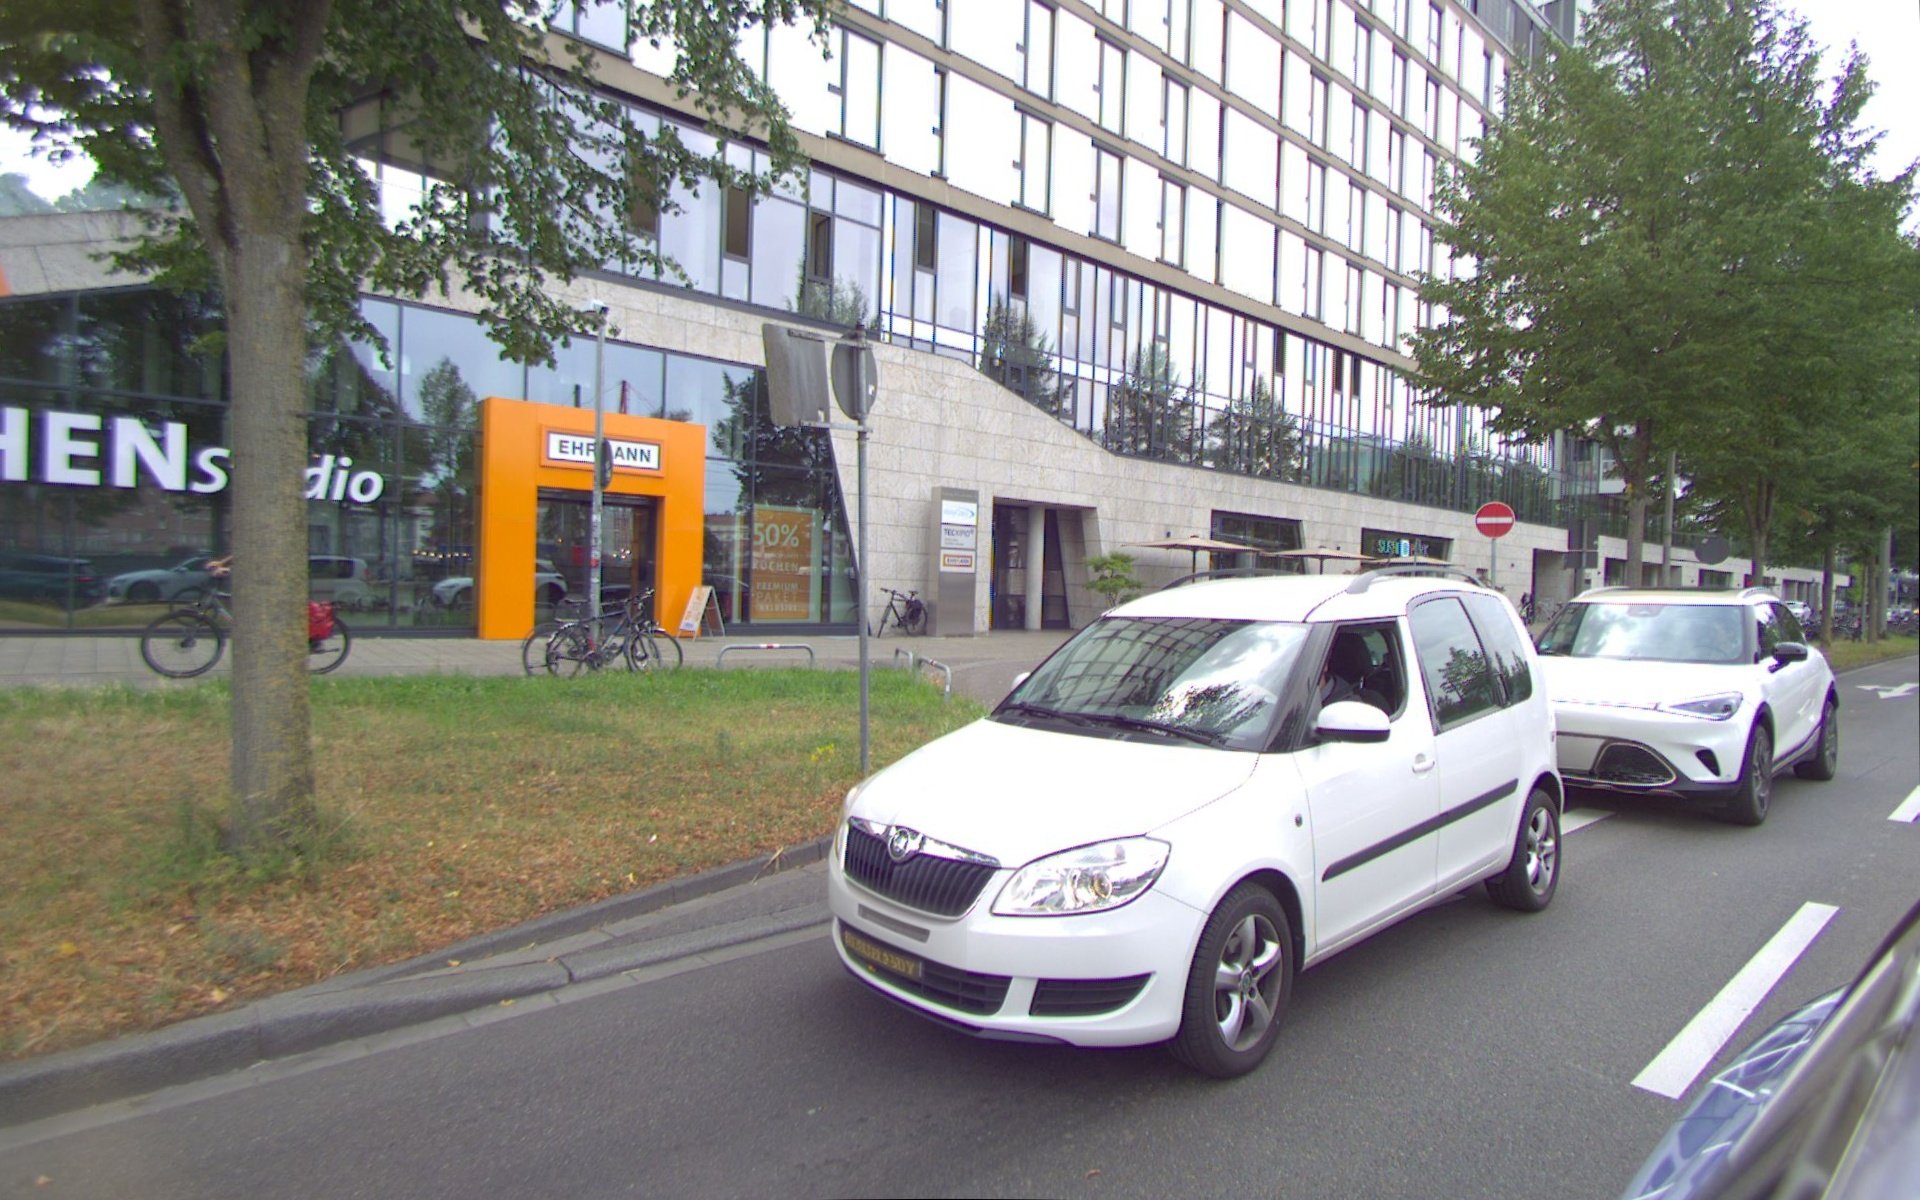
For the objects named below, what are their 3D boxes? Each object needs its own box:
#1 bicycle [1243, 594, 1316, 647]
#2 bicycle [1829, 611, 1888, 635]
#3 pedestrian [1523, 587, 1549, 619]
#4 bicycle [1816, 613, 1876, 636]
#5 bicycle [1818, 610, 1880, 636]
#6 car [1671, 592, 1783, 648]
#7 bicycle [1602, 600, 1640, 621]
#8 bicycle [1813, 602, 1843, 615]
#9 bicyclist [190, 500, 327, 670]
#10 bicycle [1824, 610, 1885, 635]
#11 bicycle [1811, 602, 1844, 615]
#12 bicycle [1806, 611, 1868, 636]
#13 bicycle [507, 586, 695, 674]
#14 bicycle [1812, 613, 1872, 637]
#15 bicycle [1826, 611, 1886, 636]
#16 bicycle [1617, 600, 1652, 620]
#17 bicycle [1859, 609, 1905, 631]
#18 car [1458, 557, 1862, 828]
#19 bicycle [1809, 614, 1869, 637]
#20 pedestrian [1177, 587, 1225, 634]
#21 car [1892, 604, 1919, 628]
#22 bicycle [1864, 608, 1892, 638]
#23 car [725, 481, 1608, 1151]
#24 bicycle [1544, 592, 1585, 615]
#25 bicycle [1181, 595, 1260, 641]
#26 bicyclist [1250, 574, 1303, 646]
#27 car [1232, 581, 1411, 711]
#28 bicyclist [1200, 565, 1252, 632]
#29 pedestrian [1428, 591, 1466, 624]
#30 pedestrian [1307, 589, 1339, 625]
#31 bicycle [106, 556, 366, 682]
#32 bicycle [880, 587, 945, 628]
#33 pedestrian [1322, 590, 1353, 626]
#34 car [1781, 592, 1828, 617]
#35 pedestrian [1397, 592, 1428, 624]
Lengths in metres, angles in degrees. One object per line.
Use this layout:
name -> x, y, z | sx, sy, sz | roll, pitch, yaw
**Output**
bicycle -> 7.452, 0.468, 23.585 | 1.972, 1.157, 0.674 | 1, 1, -42
bicycle -> 40.068, 1.037, 45.169 | 1.927, 1.079, 0.536 | -2, -2, 41
pedestrian -> 26.488, 0.139, 46.569 | 0.707, 1.424, 0.759 | 1, 1, -33
bicycle -> 37.998, 1.062, 43.413 | 0.602, 0.963, 1.862 | 1, -2, -43
bicycle -> 38.516, 1.009, 43.855 | 0.693, 1.079, 1.931 | 1, -2, -43
car -> 24.071, 0.593, 31.706 | 4.514, 1.571, 1.941 | 1, 1, -42
bicycle -> 34.861, 0.543, 53.394 | 0.524, 1.039, 1.599 | 1, 2, -43
bicycle -> 84.090, 0.828, 98.050 | 2.231, 1.191, 0.961 | 2, 1, 42
bicyclist -> -7.799, -0.190, 11.244 | 1.110, 1.758, 0.999 | 1, 4, -42
bicycle -> 39.124, 1.006, 44.292 | 0.631, 1.079, 1.931 | 1, -2, -43
bicycle -> 84.862, 0.823, 99.003 | 2.417, 1.191, 1.185 | 2, 1, 42
bicycle -> 36.397, 0.996, 42.026 | 0.564, 1.008, 1.862 | 1, -2, -43
bicycle -> -4.306, 0.338, 12.258 | 0.630, 0.968, 2.074 | 2, 1, 44
bicycle -> 37.430, 1.065, 42.957 | 0.642, 0.963, 1.862 | 1, -2, -43
bicycle -> 39.633, 1.037, 44.801 | 1.927, 1.079, 0.536 | -2, -2, 41
bicycle -> 37.366, 0.542, 56.060 | 0.524, 1.039, 1.531 | 1, 1, -43
bicycle -> 45.760, 0.993, 50.248 | 0.516, 1.104, 1.669 | 1, -1, -43
car -> 5.829, 0.585, 8.251 | 3.952, 1.677, 1.782 | 1, -1, -41
bicycle -> 36.872, 1.066, 42.477 | 0.493, 0.963, 1.862 | 1, -2, -43
pedestrian -> 6.680, 0.280, 28.060 | 0.932, 1.243, 0.900 | 1, 1, -36
car -> 58.403, 0.977, 61.801 | 4.109, 1.439, 1.763 | 1, 1, -41
bicycle -> 35.393, 0.875, 39.035 | 0.709, 1.130, 2.170 | -2, -2, 41
car -> 1.183, 0.525, 4.503 | 3.952, 1.677, 1.782 | 1, 1, -41
bicycle -> 29.181, 0.174, 48.857 | 1.584, 1.039, 0.606 | 3, 2, 23
bicycle -> 6.437, 0.439, 24.982 | 1.968, 1.054, 0.676 | 1, 3, -33
bicyclist -> 7.364, 0.227, 23.557 | 0.972, 1.601, 0.726 | 0, 3, -41
car -> 5.009, 0.508, 14.668 | 1.919, 1.494, 4.850 | 2, 1, 14
bicyclist -> 6.587, -0.043, 25.055 | 0.970, 1.601, 0.728 | 1, 3, -32
pedestrian -> 18.817, 0.287, 39.111 | 1.083, 1.207, 0.776 | 1, 1, -26
pedestrian -> 12.381, 0.236, 34.532 | 0.746, 1.207, 0.720 | 1, 1, -41
bicycle -> -7.914, 0.178, 11.135 | 2.229, 1.250, 0.903 | 1, 1, -42
bicycle -> -1.094, 0.172, 23.378 | 1.467, 0.921, 0.519 | 1, 1, -41
pedestrian -> 13.107, 0.285, 35.158 | 0.745, 1.207, 0.720 | 1, 1, -39
car -> 59.932, 0.327, 71.795 | 4.165, 1.607, 1.862 | 1, 4, -41
pedestrian -> 17.315, 0.298, 38.706 | 0.743, 1.207, 0.723 | 1, 1, -19
